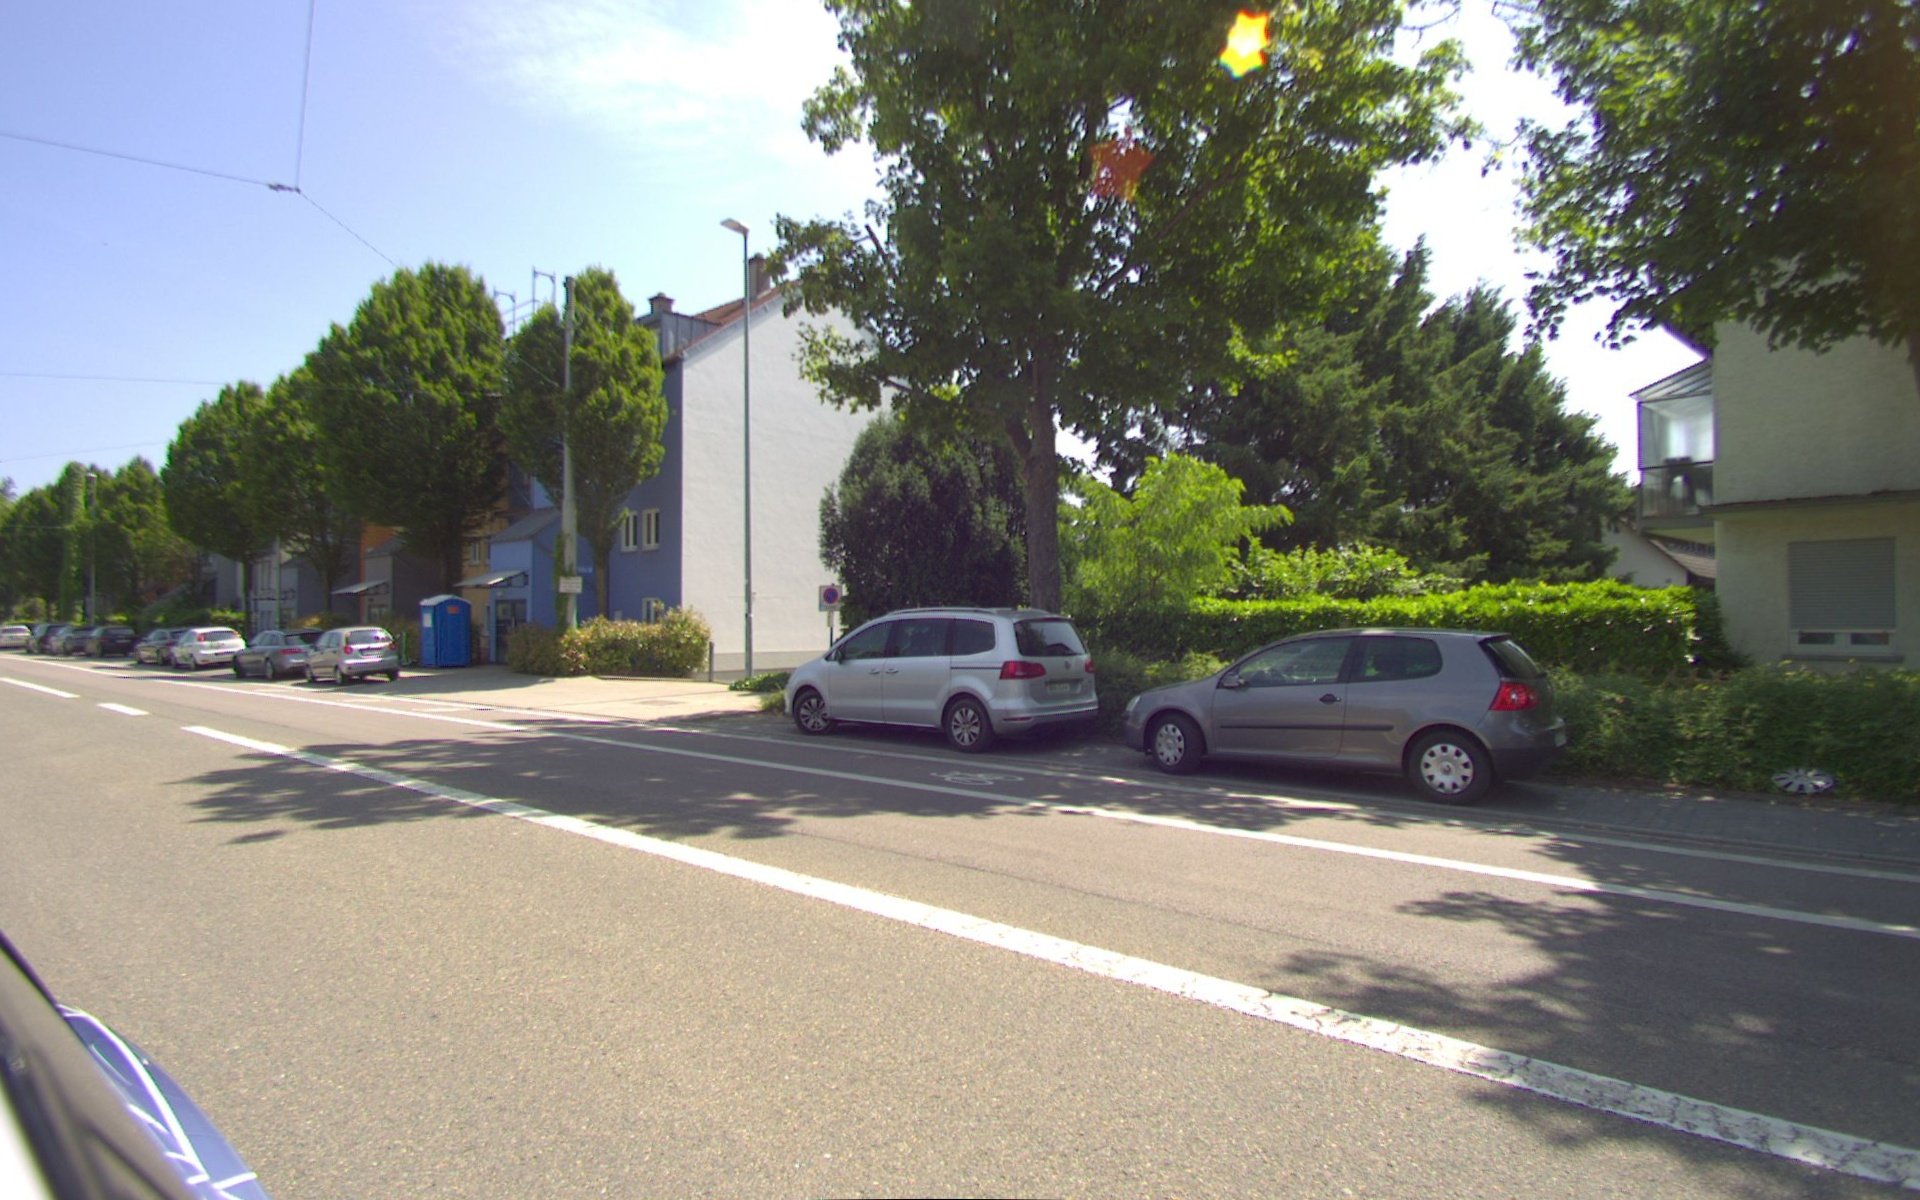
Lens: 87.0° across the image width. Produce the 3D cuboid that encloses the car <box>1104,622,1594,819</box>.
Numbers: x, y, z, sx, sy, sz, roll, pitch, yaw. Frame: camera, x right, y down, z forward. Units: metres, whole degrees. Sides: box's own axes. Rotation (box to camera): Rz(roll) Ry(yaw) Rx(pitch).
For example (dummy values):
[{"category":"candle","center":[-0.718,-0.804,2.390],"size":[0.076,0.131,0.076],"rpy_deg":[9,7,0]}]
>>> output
[{"category":"car","center":[3.608,0.987,9.837],"size":[4.125,1.498,1.659],"rpy_deg":[-1,-1,40]}]

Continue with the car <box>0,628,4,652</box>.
[{"category":"car","center":[-63.517,2.660,65.570],"size":[3.467,1.507,1.842],"rpy_deg":[-1,2,39]}]

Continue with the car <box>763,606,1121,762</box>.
[{"category":"car","center":[-0.389,0.977,13.439],"size":[4.686,1.701,1.950],"rpy_deg":[-2,-1,42]}]

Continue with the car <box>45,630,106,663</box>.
[{"category":"car","center":[-44.987,2.334,51.457],"size":[4.078,1.507,1.636],"rpy_deg":[-1,2,39]}]

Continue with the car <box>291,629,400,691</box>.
[{"category":"car","center":[-16.916,1.599,27.817],"size":[3.279,1.507,1.487],"rpy_deg":[-1,2,39]}]

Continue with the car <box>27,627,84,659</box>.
[{"category":"car","center":[-49.388,2.318,55.241],"size":[4.078,1.599,1.636],"rpy_deg":[-1,2,39]}]

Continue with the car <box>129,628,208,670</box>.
[{"category":"car","center":[-32.384,1.969,41.372],"size":[4.078,1.507,1.636],"rpy_deg":[-1,2,39]}]

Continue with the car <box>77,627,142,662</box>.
[{"category":"car","center":[-40.908,2.122,48.661],"size":[4.078,1.507,1.636],"rpy_deg":[-1,2,39]}]

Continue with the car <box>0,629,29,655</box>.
[{"category":"car","center":[-58.690,2.570,62.109],"size":[4.078,1.507,1.702],"rpy_deg":[-1,2,39]}]

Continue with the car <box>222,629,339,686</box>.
[{"category":"car","center":[-20.940,1.715,31.108],"size":[4.634,1.507,1.660],"rpy_deg":[-1,2,39]}]

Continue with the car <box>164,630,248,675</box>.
[{"category":"car","center":[-28.166,1.917,37.761],"size":[3.646,1.507,1.636],"rpy_deg":[-1,2,39]}]
